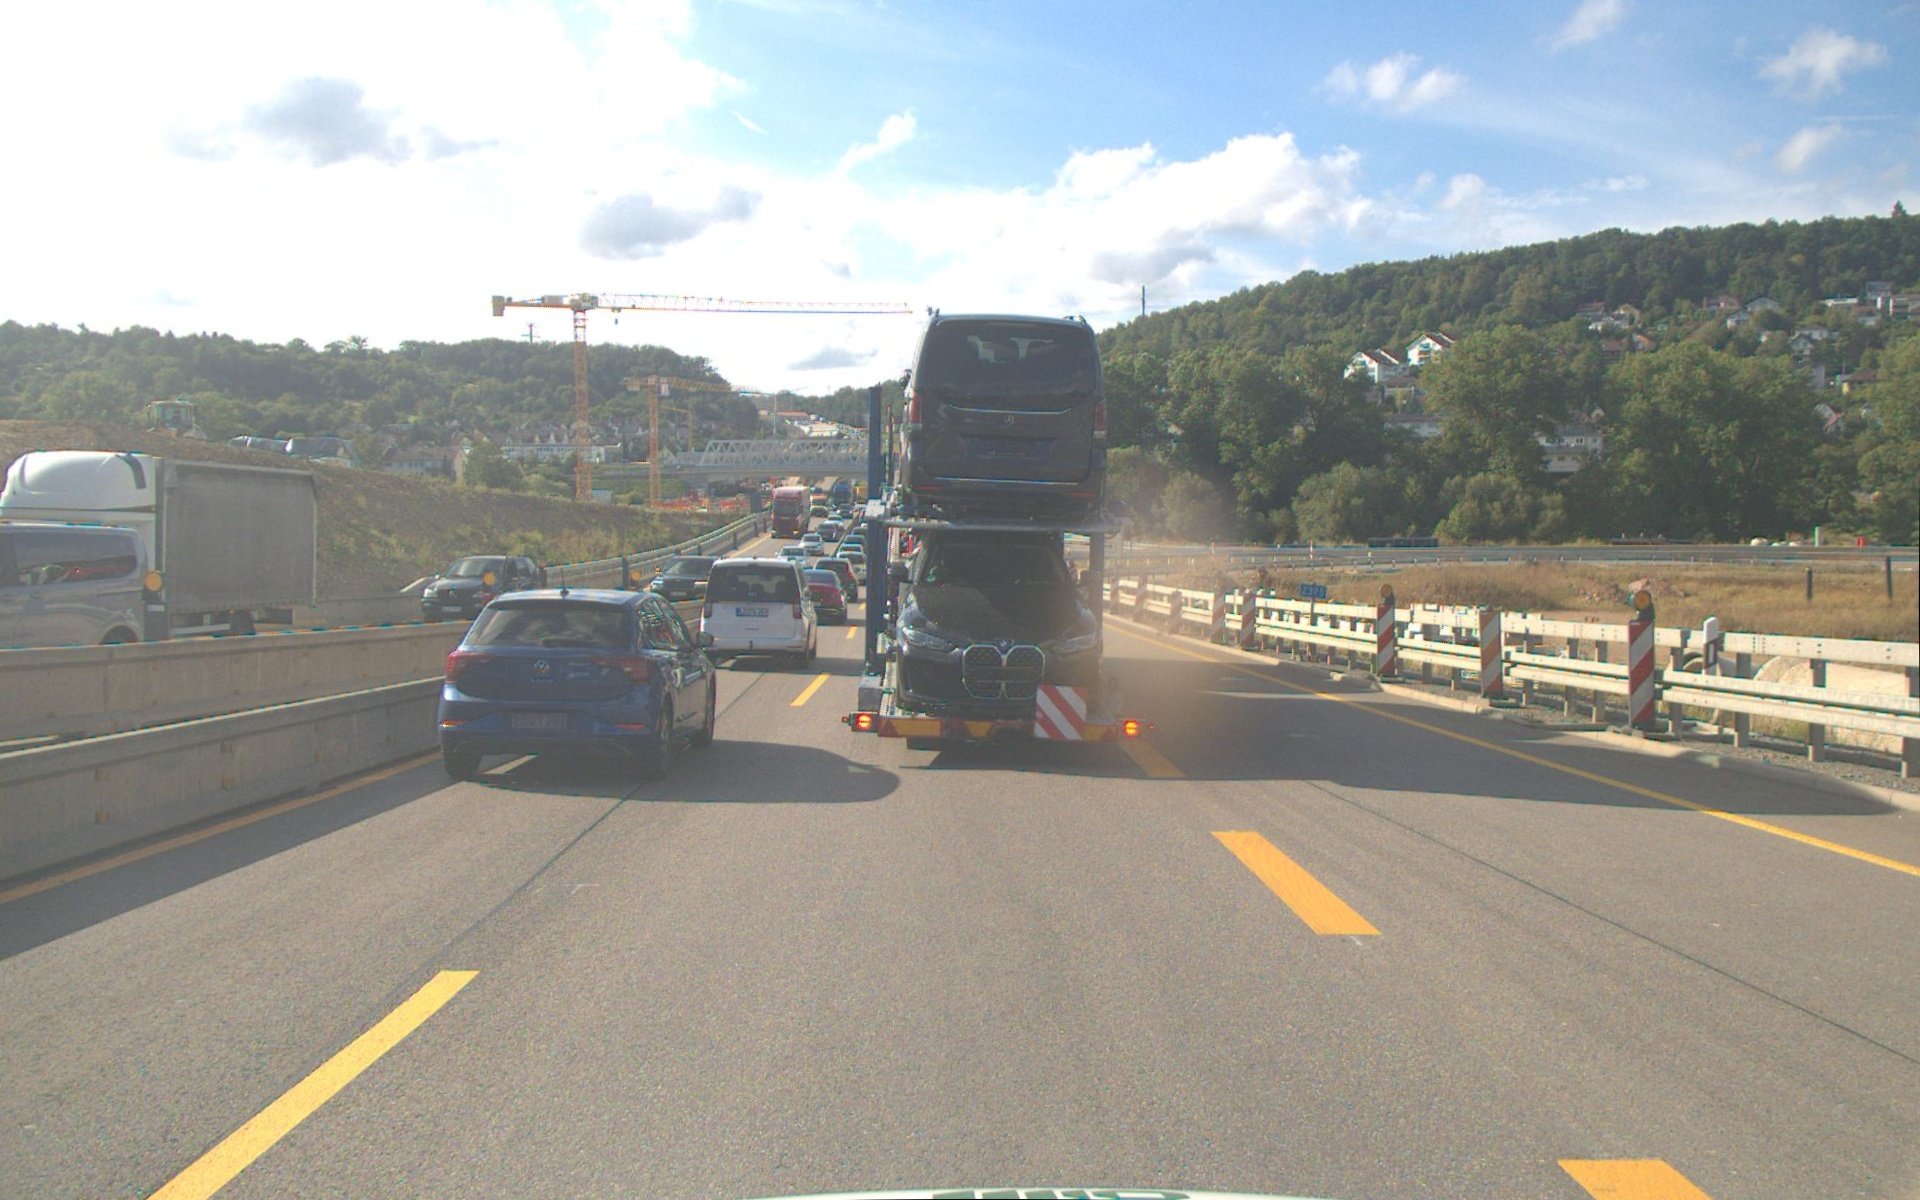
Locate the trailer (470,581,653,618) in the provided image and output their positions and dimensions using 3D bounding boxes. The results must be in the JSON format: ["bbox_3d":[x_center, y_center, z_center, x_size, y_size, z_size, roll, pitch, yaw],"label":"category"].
[{"bbox_3d":[-11.514,-0.003,48.990,2.302,0.956,10.333,1,0,4],"label":"trailer"}]

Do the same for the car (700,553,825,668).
[{"bbox_3d":[-3.363,0.179,28.835,1.786,1.823,3.998,1,0,-2],"label":"car"}]

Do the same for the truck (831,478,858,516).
[{"bbox_3d":[-17.716,-15.785,254.598,2.763,4.872,13.056,1,0,1],"label":"truck"}]

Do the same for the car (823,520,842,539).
[{"bbox_3d":[-12.266,-6.734,159.232,1.808,1.677,4.501,1,1,-5],"label":"car"}]

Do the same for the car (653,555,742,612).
[{"bbox_3d":[-8.139,-0.528,51.633,1.814,1.664,4.750,1,1,2],"label":"car"}]

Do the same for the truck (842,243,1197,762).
[{"bbox_3d":[0.094,-0.813,22.623,2.698,4.023,18.880,2,0,-2],"label":"truck"}]

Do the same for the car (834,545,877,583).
[{"bbox_3d":[-5.100,-1.746,81.122,1.953,1.695,3.999,1,0,-1],"label":"car"}]

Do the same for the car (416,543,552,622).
[{"bbox_3d":[-11.879,-0.423,41.574,1.952,1.835,4.446,1,0,2],"label":"car"}]

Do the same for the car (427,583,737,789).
[{"bbox_3d":[-2.981,0.622,13.866,1.687,1.447,3.999,1,0,-1],"label":"car"}]

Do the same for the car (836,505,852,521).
[{"bbox_3d":[-13.510,-10.095,192.785,1.808,1.677,4.233,1,1,-4],"label":"car"}]

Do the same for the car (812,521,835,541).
[{"bbox_3d":[-11.465,-5.794,139.233,1.785,1.465,4.611,1,1,-3],"label":"car"}]

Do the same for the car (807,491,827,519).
[{"bbox_3d":[-17.099,-11.294,197.669,1.953,2.930,6.062,1,0,-1],"label":"car"}]

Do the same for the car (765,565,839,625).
[{"bbox_3d":[-4.451,-0.125,47.217,1.954,1.584,4.397,1,0,-4],"label":"car"}]

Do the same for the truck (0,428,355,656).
[{"bbox_3d":[-13.439,-0.854,28.461,2.643,3.369,7.541,1,0,5],"label":"truck"}]

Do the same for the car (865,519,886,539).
[{"bbox_3d":[-7.776,-6.501,151.637,1.808,1.677,4.501,1,1,-4],"label":"car"}]

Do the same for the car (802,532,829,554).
[{"bbox_3d":[-10.220,-4.040,116.909,1.719,1.465,3.803,1,1,-3],"label":"car"}]

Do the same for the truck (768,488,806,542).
[{"bbox_3d":[-15.010,-7.323,143.783,2.857,4.463,6.282,2,1,-4],"label":"truck"}]

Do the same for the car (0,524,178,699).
[{"bbox_3d":[-10.844,0.089,17.760,2.080,1.796,5.035,1,1,6],"label":"car"}]

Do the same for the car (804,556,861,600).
[{"bbox_3d":[-4.897,-0.804,63.778,1.953,1.579,3.999,1,0,-2],"label":"car"}]

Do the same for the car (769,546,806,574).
[{"bbox_3d":[-9.749,-2.249,93.703,1.815,1.465,4.556,1,1,-3],"label":"car"}]

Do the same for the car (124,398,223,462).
[{"bbox_3d":[-35.357,-7.620,74.494,1.954,2.177,5.319,-4,0,-2],"label":"car"}]
